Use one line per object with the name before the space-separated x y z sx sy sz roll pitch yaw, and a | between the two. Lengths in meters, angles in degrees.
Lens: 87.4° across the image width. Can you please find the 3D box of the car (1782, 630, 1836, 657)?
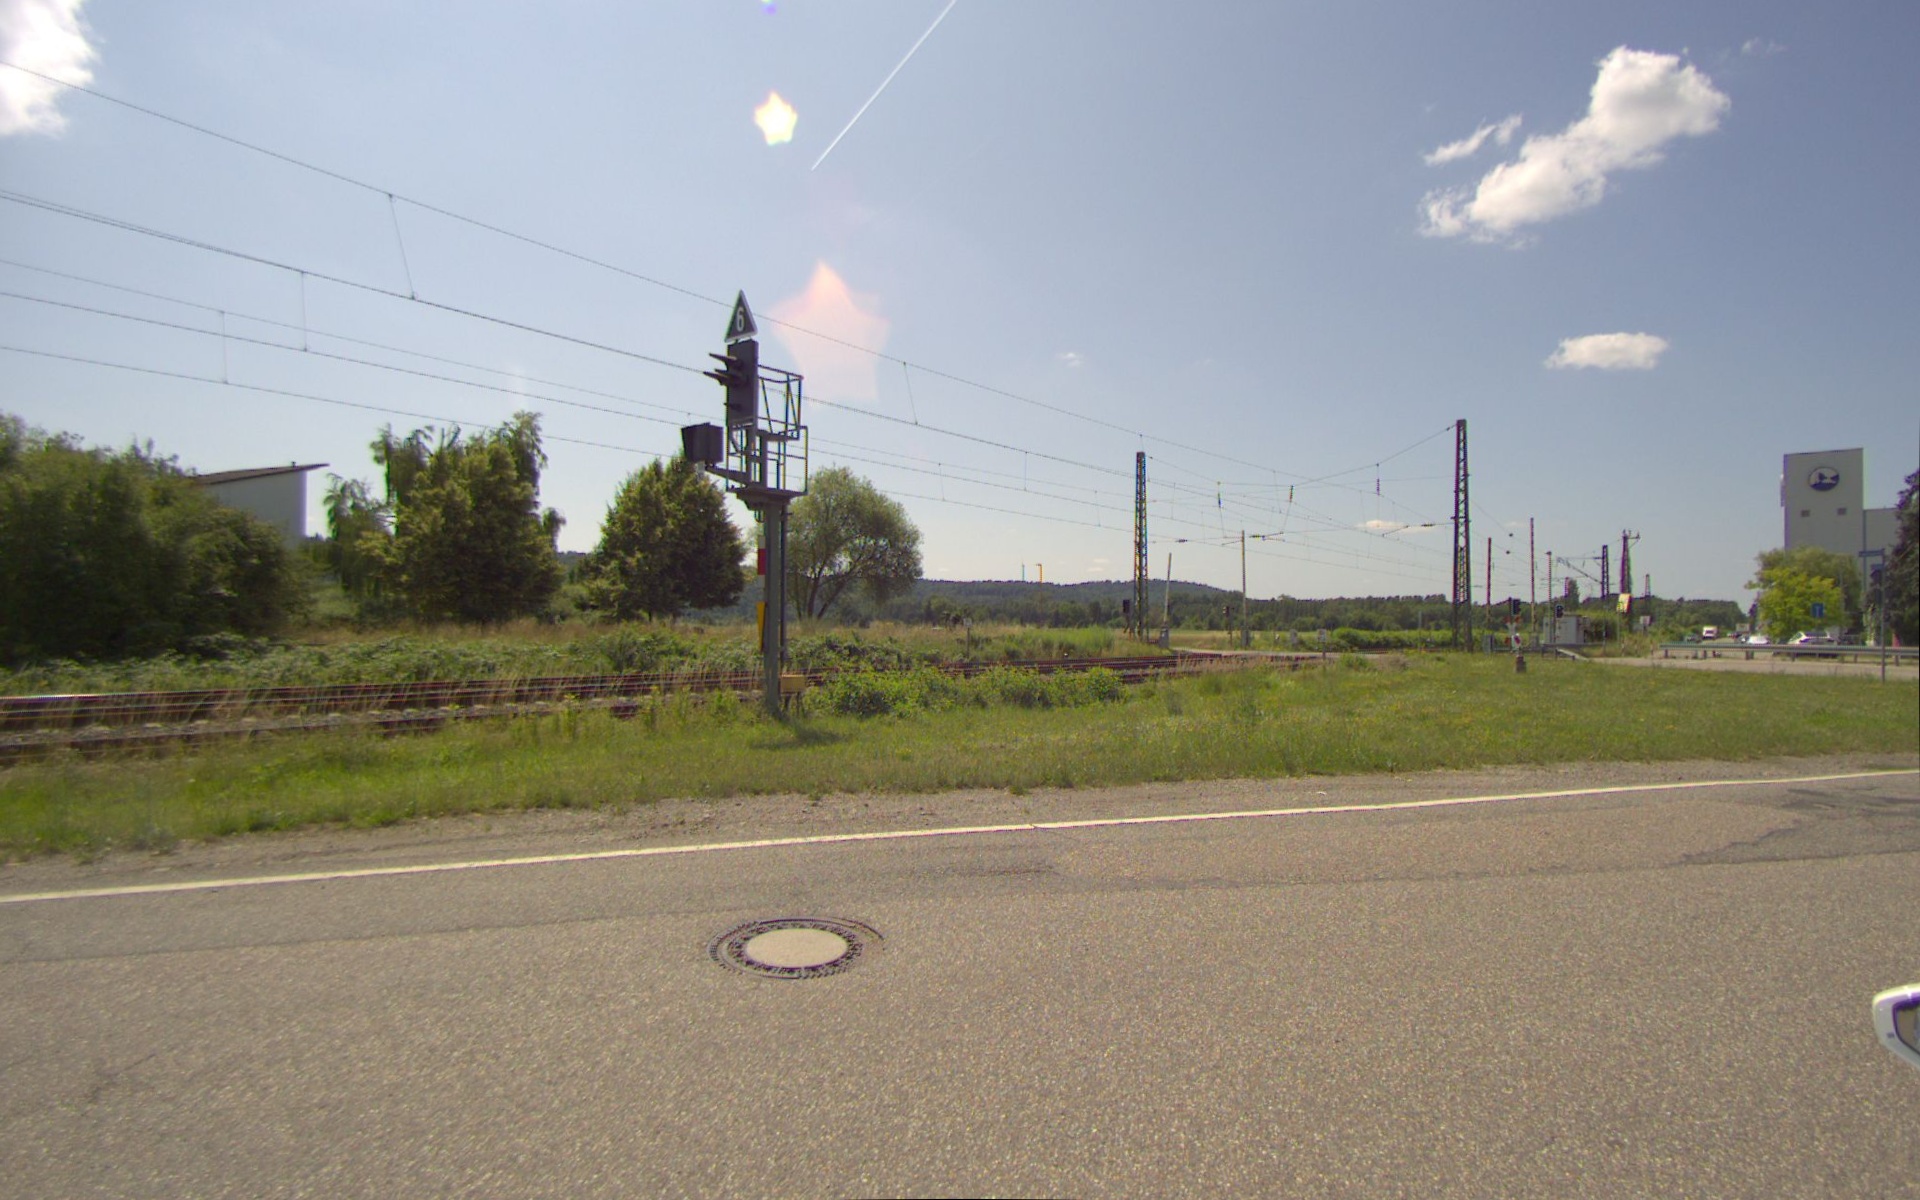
car | 51.290 2.610 60.748 1.967 1.530 4.441 -1 -2 34
